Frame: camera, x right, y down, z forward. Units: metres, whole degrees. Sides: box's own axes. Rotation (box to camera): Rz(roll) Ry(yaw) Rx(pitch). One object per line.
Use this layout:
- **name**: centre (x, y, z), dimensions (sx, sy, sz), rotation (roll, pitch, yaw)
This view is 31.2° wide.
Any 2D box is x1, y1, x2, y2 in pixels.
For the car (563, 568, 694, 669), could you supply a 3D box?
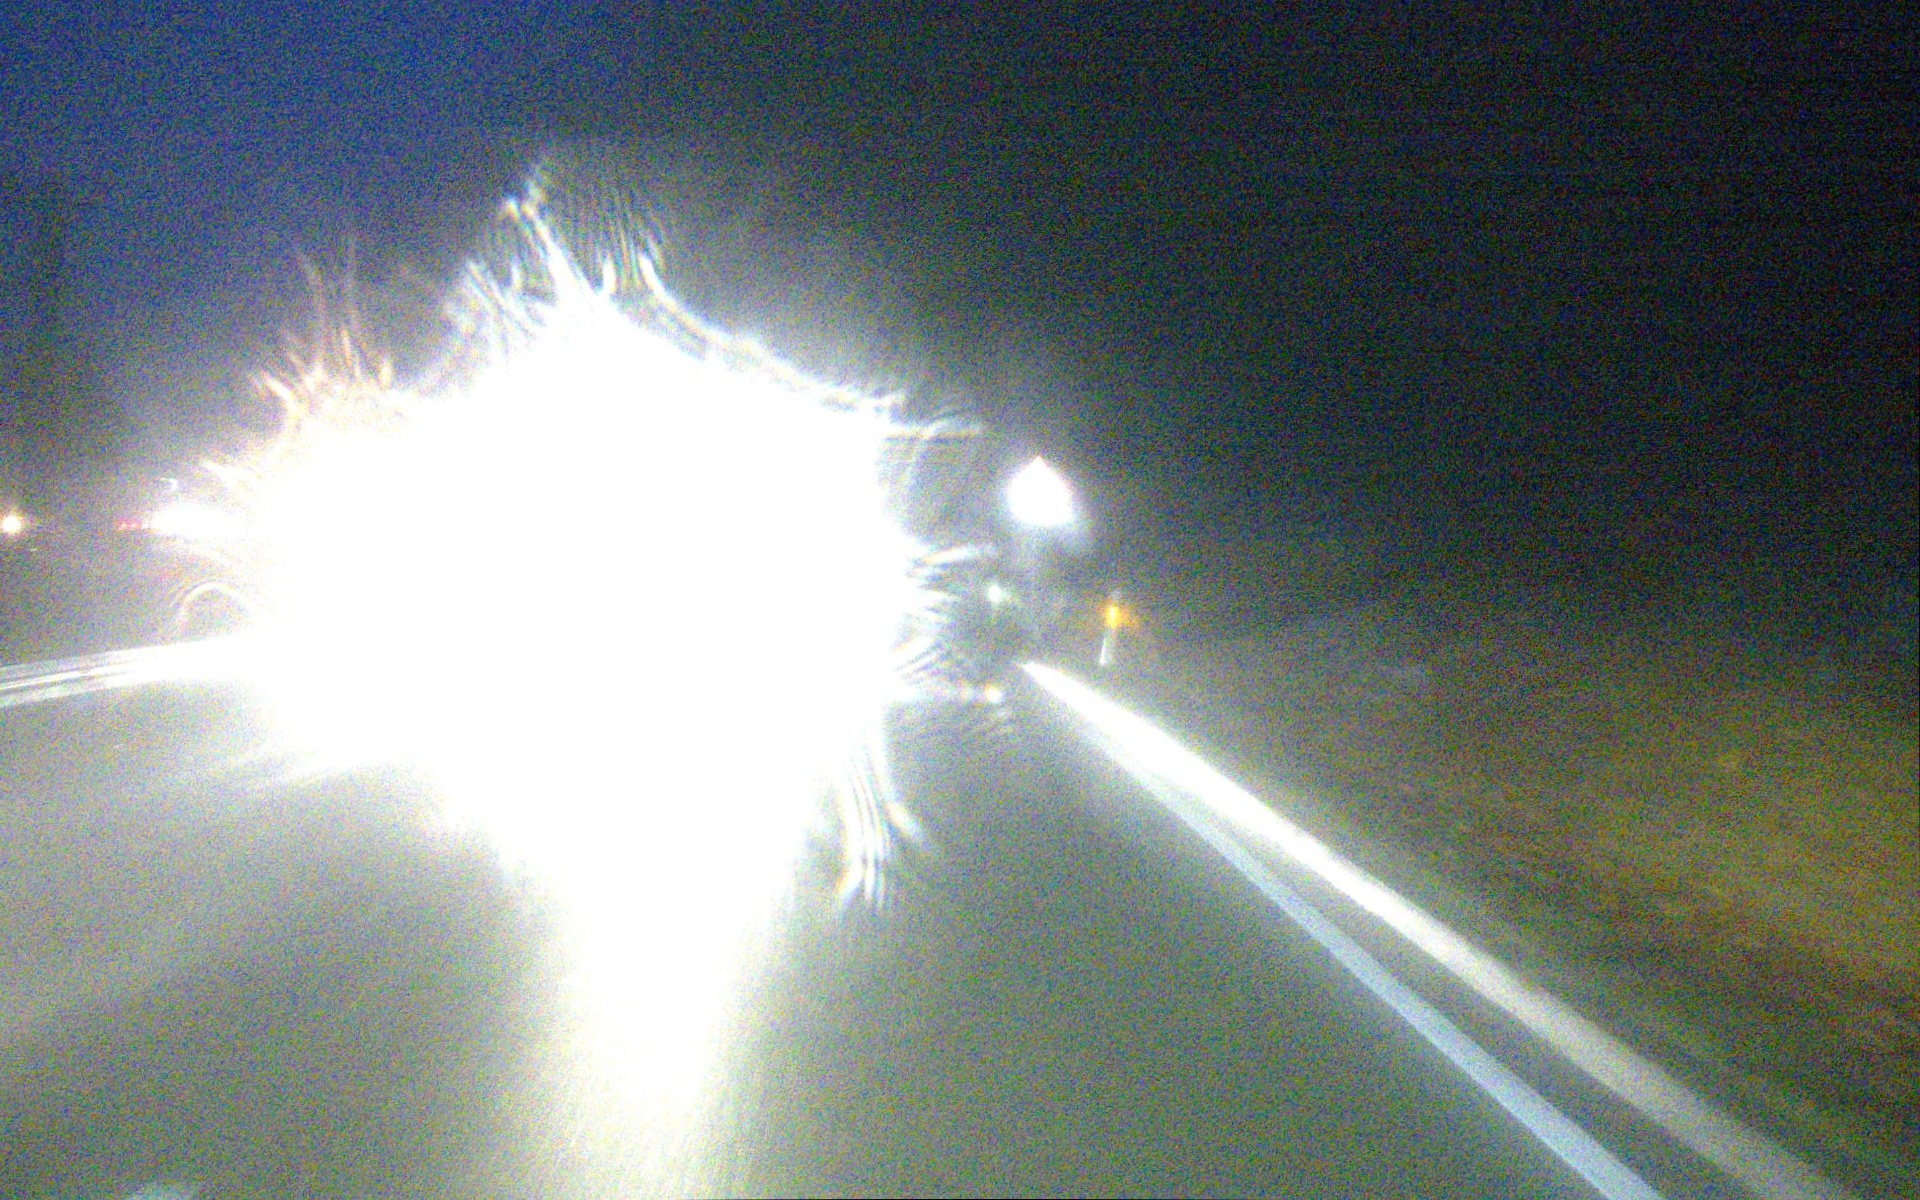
- **car**: centre (-5.618, 0.285, 58.705), dimensions (1.993, 1.607, 4.099), rotation (-1, 1, -3)
